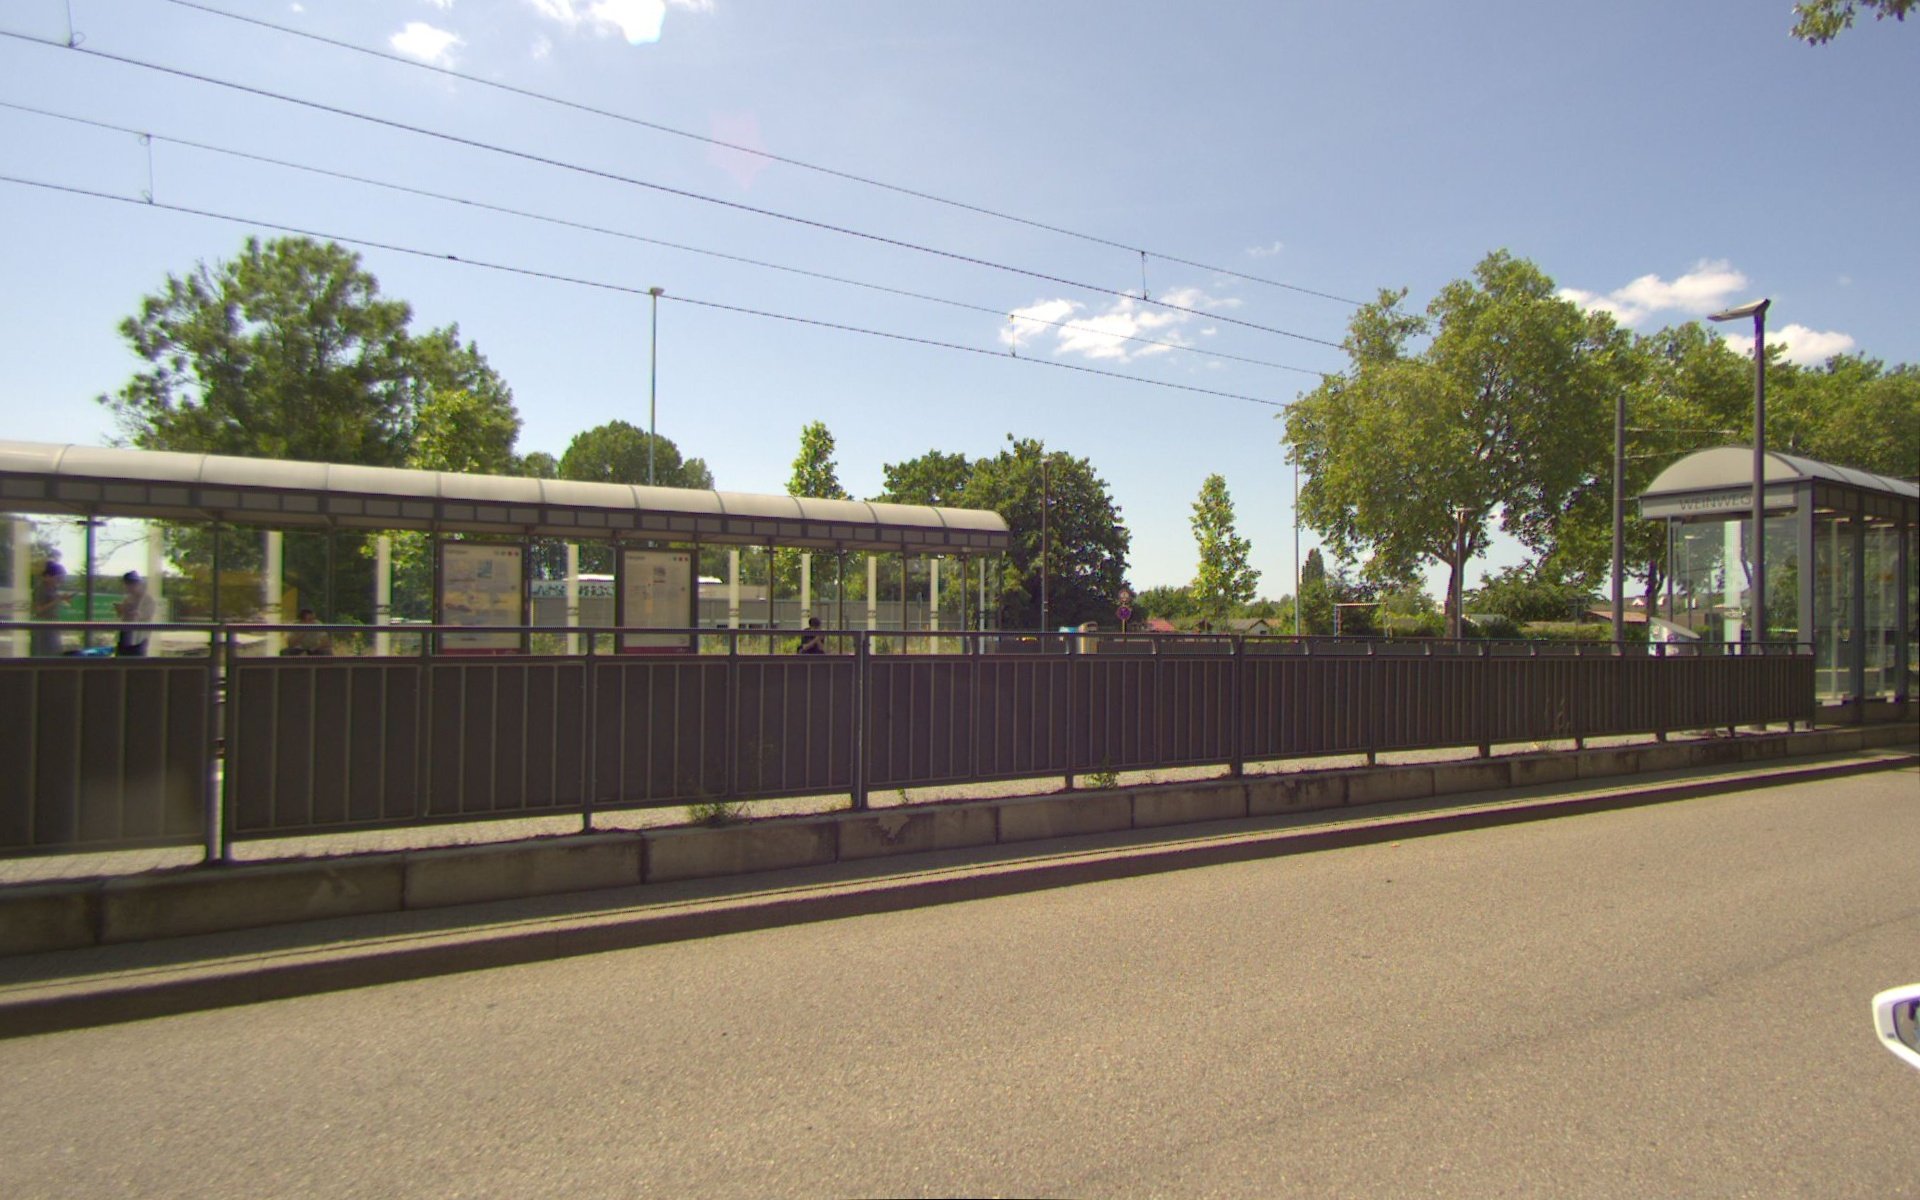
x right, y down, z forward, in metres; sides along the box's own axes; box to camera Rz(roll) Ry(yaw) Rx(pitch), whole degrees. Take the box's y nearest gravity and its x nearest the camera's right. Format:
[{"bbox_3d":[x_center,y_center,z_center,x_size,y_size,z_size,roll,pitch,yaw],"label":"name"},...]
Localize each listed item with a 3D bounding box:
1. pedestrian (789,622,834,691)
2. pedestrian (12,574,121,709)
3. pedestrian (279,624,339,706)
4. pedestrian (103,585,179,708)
[{"bbox_3d":[-2.649,0.993,17.935,0.631,1.206,0.574,2,-1,-29],"label":"pedestrian"},{"bbox_3d":[-11.410,0.518,12.850,0.566,1.660,0.829,1,-1,8],"label":"pedestrian"},{"bbox_3d":[-9.076,0.901,14.024,0.631,1.109,0.574,2,-1,-29],"label":"pedestrian"},{"bbox_3d":[-10.717,0.603,13.166,0.631,1.553,0.574,1,-1,-29],"label":"pedestrian"}]
